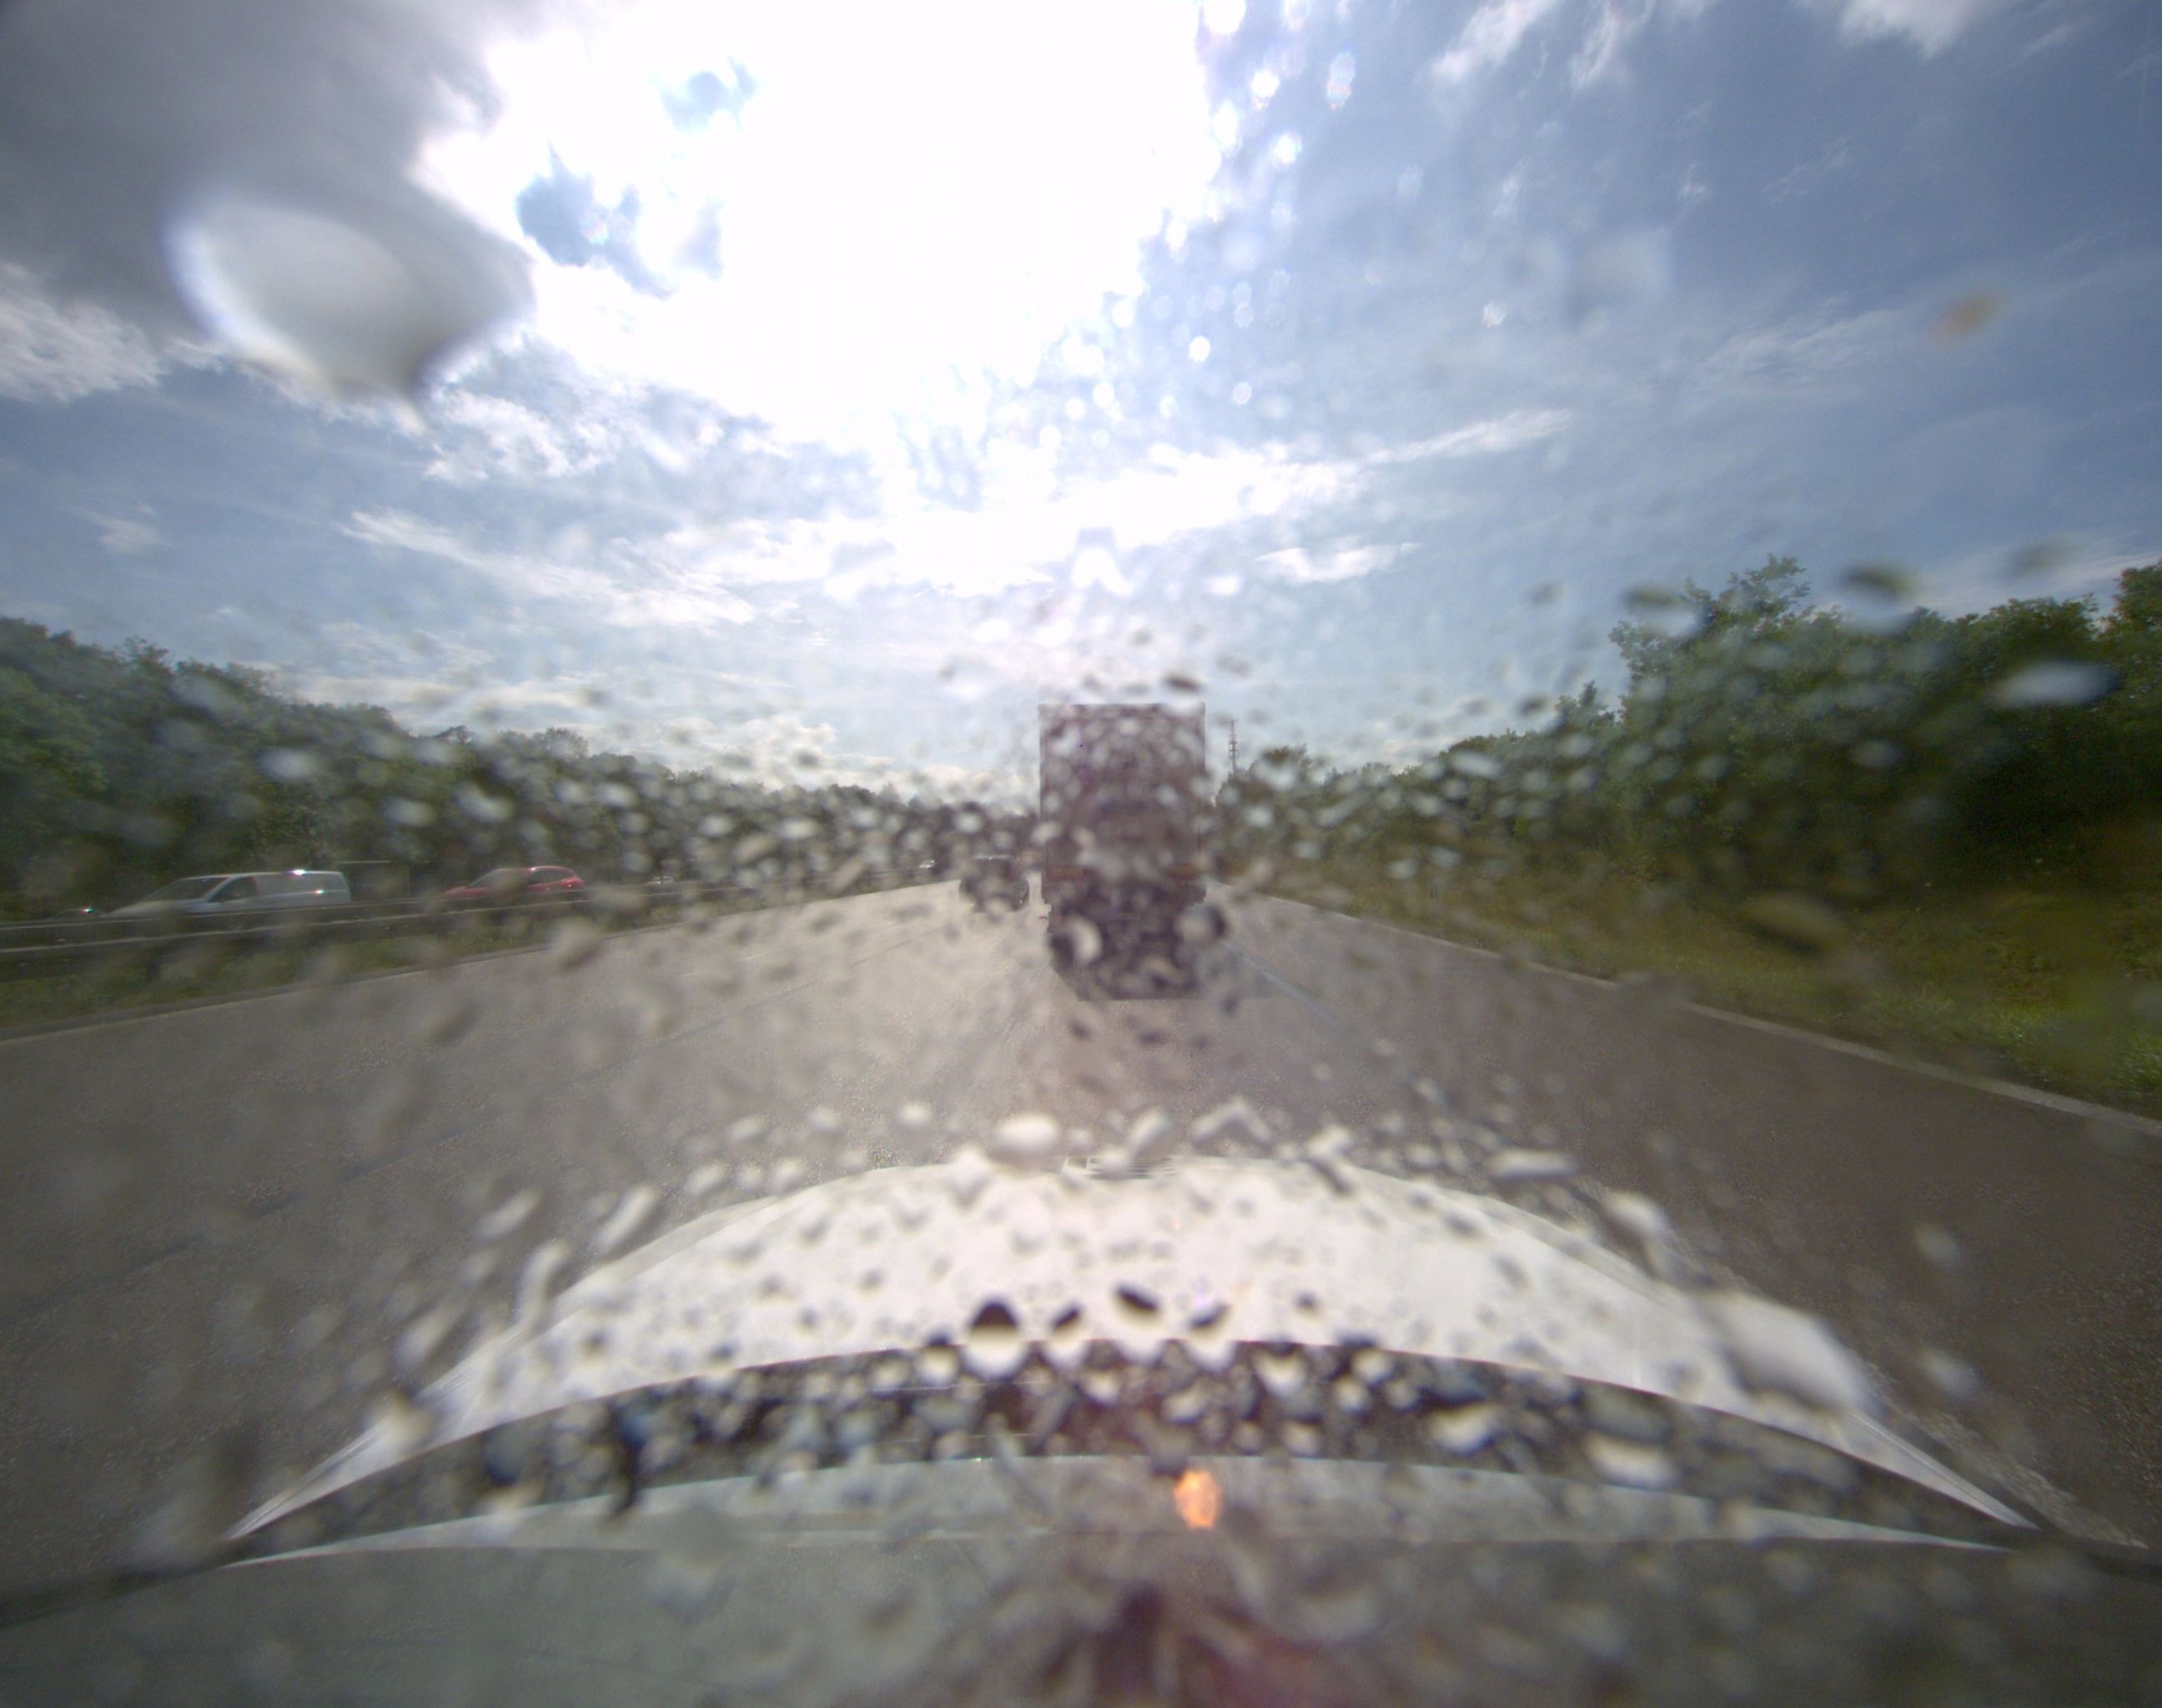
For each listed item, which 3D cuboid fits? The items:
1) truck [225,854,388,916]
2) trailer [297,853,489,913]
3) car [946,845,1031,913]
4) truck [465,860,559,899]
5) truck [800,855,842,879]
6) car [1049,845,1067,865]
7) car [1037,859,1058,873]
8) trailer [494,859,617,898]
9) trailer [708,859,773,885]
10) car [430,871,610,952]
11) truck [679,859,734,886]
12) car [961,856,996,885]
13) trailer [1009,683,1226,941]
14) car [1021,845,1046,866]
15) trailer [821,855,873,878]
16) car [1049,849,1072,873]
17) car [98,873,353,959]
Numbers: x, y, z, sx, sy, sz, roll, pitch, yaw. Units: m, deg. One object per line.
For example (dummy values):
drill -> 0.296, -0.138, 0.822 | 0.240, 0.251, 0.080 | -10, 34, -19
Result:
truck -> -57.361, 2.203, 60.730 | 3.772, 4.234, 8.423 | 0, -1, 3
trailer -> -57.004, 2.213, 68.422 | 3.773, 4.405, 13.812 | -2, 0, 3
car -> -2.801, 0.736, 25.735 | 2.268, 1.954, 4.817 | 0, -1, -2
truck -> -55.779, 2.422, 80.141 | 3.772, 3.589, 7.359 | 0, -1, 3
truck -> -45.467, 2.264, 142.604 | 3.759, 4.117, 7.074 | 0, -1, 16
car -> -3.015, 0.122, 109.746 | 1.985, 2.615, 5.263 | 0, -1, 3
car -> -3.784, 1.364, 93.154 | 1.985, 1.565, 4.760 | 0, -1, 3
trailer -> -55.406, 2.472, 86.636 | 3.773, 3.649, 13.356 | -2, 0, 3
trailer -> -50.375, 2.592, 121.028 | 3.766, 3.649, 10.526 | -2, 0, 10
car -> -16.090, 1.563, 23.744 | 1.823, 2.045, 4.781 | 0, -1, 2
truck -> -51.673, 2.557, 112.595 | 3.767, 3.660, 6.719 | 0, -1, 8
car -> -6.566, 1.061, 52.363 | 1.687, 1.805, 3.976 | 0, -1, 1
trailer -> 0.741, -0.625, 19.375 | 3.271, 3.898, 14.132 | 0, 0, 2
car -> -4.803, 0.136, 82.942 | 1.970, 2.054, 4.760 | 0, -1, 3
trailer -> -43.148, 2.341, 150.748 | 3.759, 4.117, 11.774 | 0, -1, 16
car -> -1.571, 0.545, 63.508 | 1.687, 1.805, 3.976 | 0, -1, 1
car -> -23.133, 1.580, 22.374 | 1.823, 2.045, 4.781 | 0, -1, 2
